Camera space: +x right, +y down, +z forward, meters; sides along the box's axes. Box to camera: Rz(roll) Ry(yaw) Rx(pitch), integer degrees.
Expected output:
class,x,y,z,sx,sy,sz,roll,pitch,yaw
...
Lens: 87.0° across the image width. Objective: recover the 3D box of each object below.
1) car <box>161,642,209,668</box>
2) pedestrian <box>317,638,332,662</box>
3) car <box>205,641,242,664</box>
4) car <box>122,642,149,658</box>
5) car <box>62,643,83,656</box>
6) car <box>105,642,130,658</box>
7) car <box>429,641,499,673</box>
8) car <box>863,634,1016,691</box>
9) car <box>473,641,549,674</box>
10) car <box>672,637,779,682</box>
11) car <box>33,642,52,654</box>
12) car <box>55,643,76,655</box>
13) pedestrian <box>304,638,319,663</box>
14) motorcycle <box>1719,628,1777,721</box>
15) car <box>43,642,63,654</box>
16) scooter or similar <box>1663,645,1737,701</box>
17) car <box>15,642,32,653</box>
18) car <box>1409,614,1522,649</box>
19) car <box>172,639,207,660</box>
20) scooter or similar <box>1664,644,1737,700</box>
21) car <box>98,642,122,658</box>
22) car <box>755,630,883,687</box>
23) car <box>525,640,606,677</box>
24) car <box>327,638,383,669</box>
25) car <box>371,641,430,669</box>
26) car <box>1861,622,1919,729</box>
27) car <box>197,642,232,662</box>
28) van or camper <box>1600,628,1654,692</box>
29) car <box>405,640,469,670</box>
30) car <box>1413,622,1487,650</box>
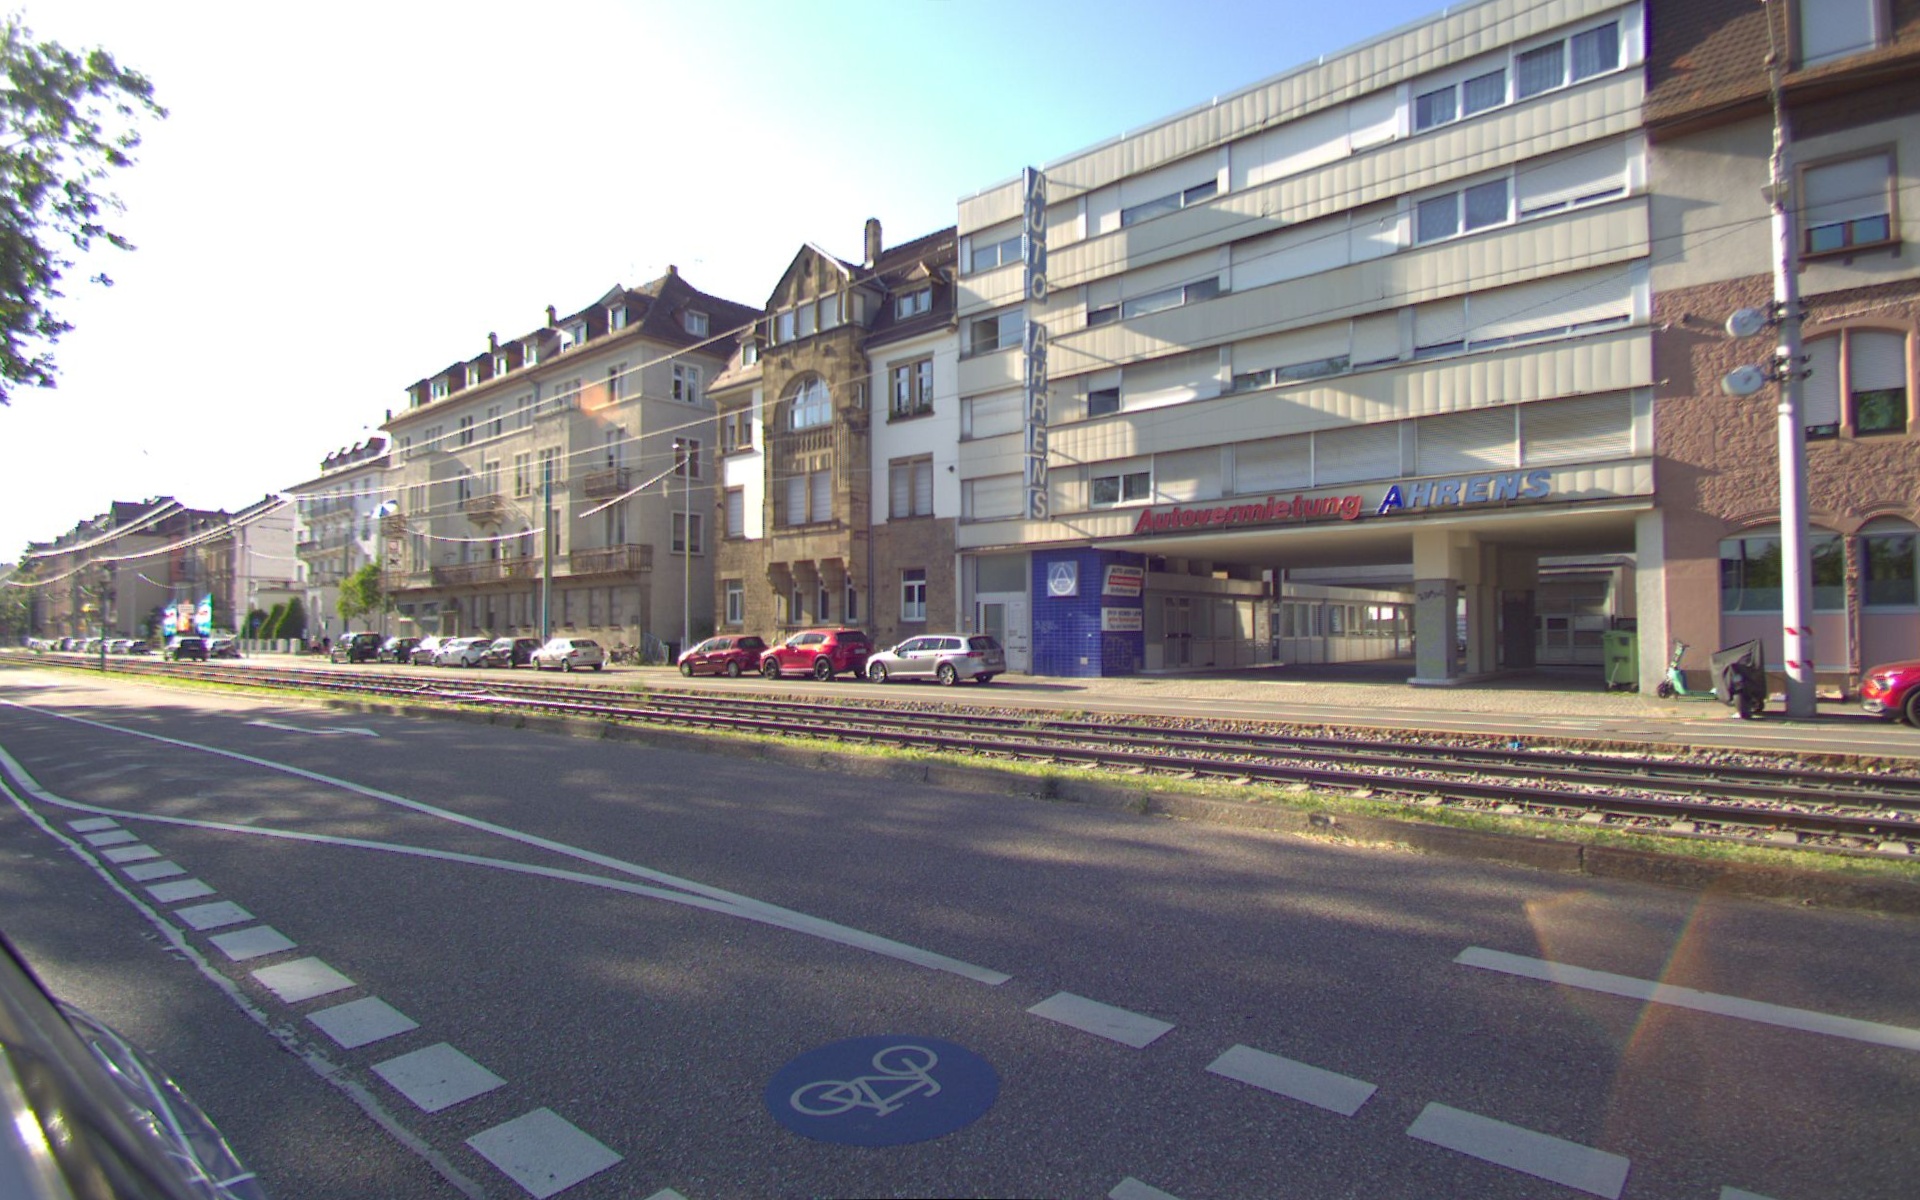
class,x,y,z,sx,sy,sz,roll,pitch,yaw
car,-52.073,3.651,67.960,3.998,1.697,1.798,-2,-3,42
pedestrian,-46.877,3.687,74.664,0.677,1.803,0.716,-2,-3,40
car,-57.200,4.063,78.574,3.406,1.644,1.655,-2,-1,42
car,-83.870,5.065,102.928,3.448,1.602,1.603,-2,-1,41
car,-113.114,6.287,129.026,3.448,1.602,1.603,-2,-1,41
car,-90.861,5.372,109.138,3.448,1.602,1.603,-2,-1,41
car,-24.803,2.836,50.611,3.530,1.457,1.624,-2,-1,34
car,-0.650,1.799,29.768,4.378,1.510,1.837,-3,-1,40
car,-21.415,2.728,48.207,3.819,1.441,1.779,-2,-1,39
car,-8.538,2.140,36.758,3.721,1.507,1.736,-2,-1,35
car,-130.557,6.865,144.061,3.448,1.602,1.603,-2,-1,41
car,-116.983,6.407,132.374,3.448,1.602,1.603,-2,-1,41
pedestrian,-47.484,3.682,74.127,0.677,1.803,0.716,-2,-3,40
motorcycle,13.519,1.243,17.346,0.628,1.433,1.836,-4,-1,41
car,-122.746,6.500,136.954,3.448,1.602,1.603,-2,-1,41
scooter or similar,14.632,1.434,20.026,1.121,1.077,0.202,-3,-2,42
car,-150.467,7.609,162.594,3.448,1.602,1.603,-2,-1,41
car,35.009,2.221,70.243,6.595,2.275,2.330,-2,-3,40
car,-68.208,4.361,89.601,3.879,1.800,1.705,-2,-1,41
scooter or similar,14.784,1.430,20.218,1.121,1.077,0.202,-3,-2,42
car,-94.852,5.562,112.916,3.448,1.602,1.603,-2,-1,41
car,-4.697,1.892,33.271,4.262,1.700,1.836,-3,-1,42
car,-17.417,2.567,44.609,3.821,1.490,1.778,-2,-1,42
car,-36.819,3.229,61.589,3.914,1.750,1.851,-2,-1,42
car,-32.337,3.158,58.469,3.821,1.490,1.778,-2,-1,42
car,16.158,1.098,14.897,4.207,1.510,1.837,-3,0,40
car,-60.746,4.230,82.443,3.387,1.583,1.662,-2,-1,41
van or camper,14.869,1.324,22.566,0.803,1.368,1.410,-2,-3,40
car,-28.085,2.958,54.318,3.821,1.490,1.778,-2,-1,42
car,32.922,2.404,68.006,4.120,1.825,1.869,-2,-3,40
